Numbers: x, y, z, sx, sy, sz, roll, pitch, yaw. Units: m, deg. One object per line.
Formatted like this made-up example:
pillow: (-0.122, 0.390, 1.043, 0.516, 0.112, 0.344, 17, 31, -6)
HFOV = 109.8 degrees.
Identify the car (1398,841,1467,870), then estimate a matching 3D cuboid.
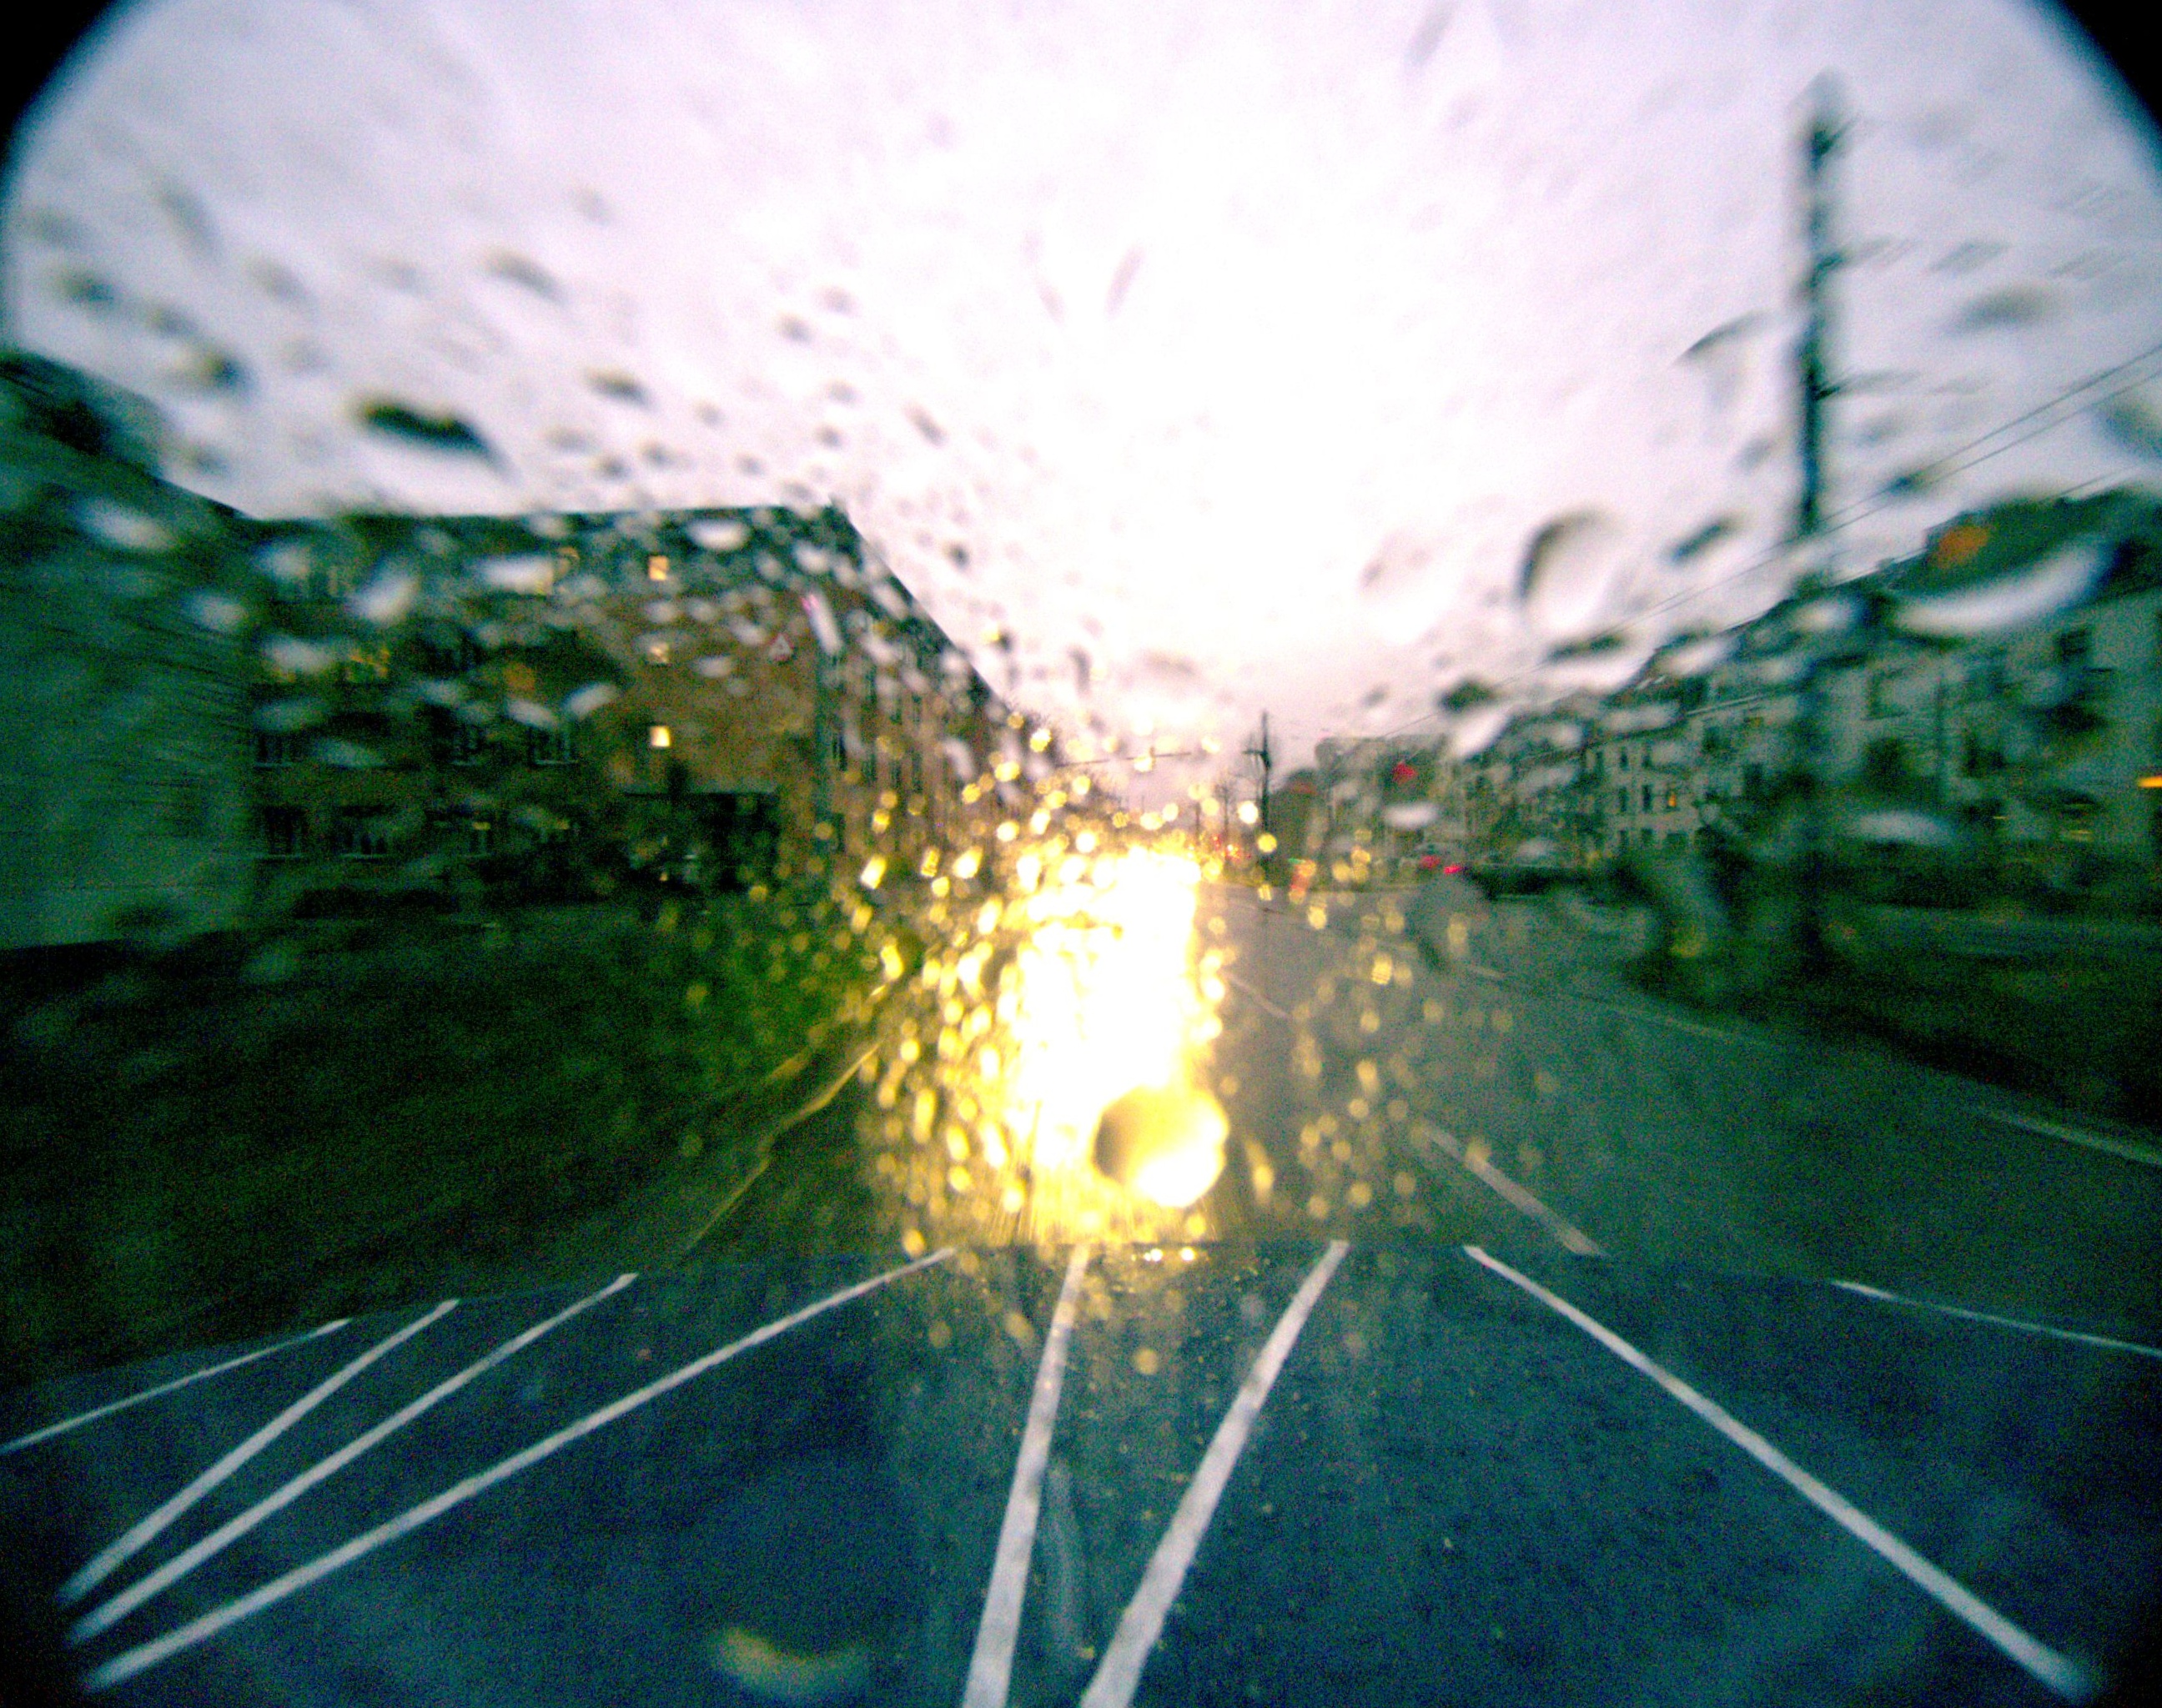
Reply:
car: (34.858, 0.106, 75.400, 2.004, 2.781, 5.850, -1, 1, -44)

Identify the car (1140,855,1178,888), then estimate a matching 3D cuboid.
car: (3.987, 0.860, 39.089, 1.813, 1.488, 4.054, -1, 0, 4)

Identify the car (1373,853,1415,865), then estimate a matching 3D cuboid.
car: (35.413, 0.554, 86.101, 3.988, 1.324, 2.004, 1, 1, 39)

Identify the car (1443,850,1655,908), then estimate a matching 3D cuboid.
car: (12.938, 0.658, 21.210, 4.812, 1.421, 1.819, -1, 1, 40)

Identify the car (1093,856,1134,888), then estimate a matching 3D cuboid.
car: (1.654, 0.840, 37.395, 1.813, 1.384, 4.054, -1, 0, 4)

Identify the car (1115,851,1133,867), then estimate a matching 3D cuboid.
car: (4.922, 0.563, 86.810, 1.998, 1.745, 4.001, 0, 0, 4)

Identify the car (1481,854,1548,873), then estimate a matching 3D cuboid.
car: (32.237, 0.712, 56.488, 3.988, 1.324, 2.004, 1, 1, 42)

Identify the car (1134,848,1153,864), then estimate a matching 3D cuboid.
car: (6.782, 0.210, 82.902, 1.998, 1.745, 4.001, 0, 0, 4)

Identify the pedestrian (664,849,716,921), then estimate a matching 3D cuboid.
pedestrian: (-8.933, 0.686, 17.390, 0.622, 1.601, 1.067, 0, 1, 0)
